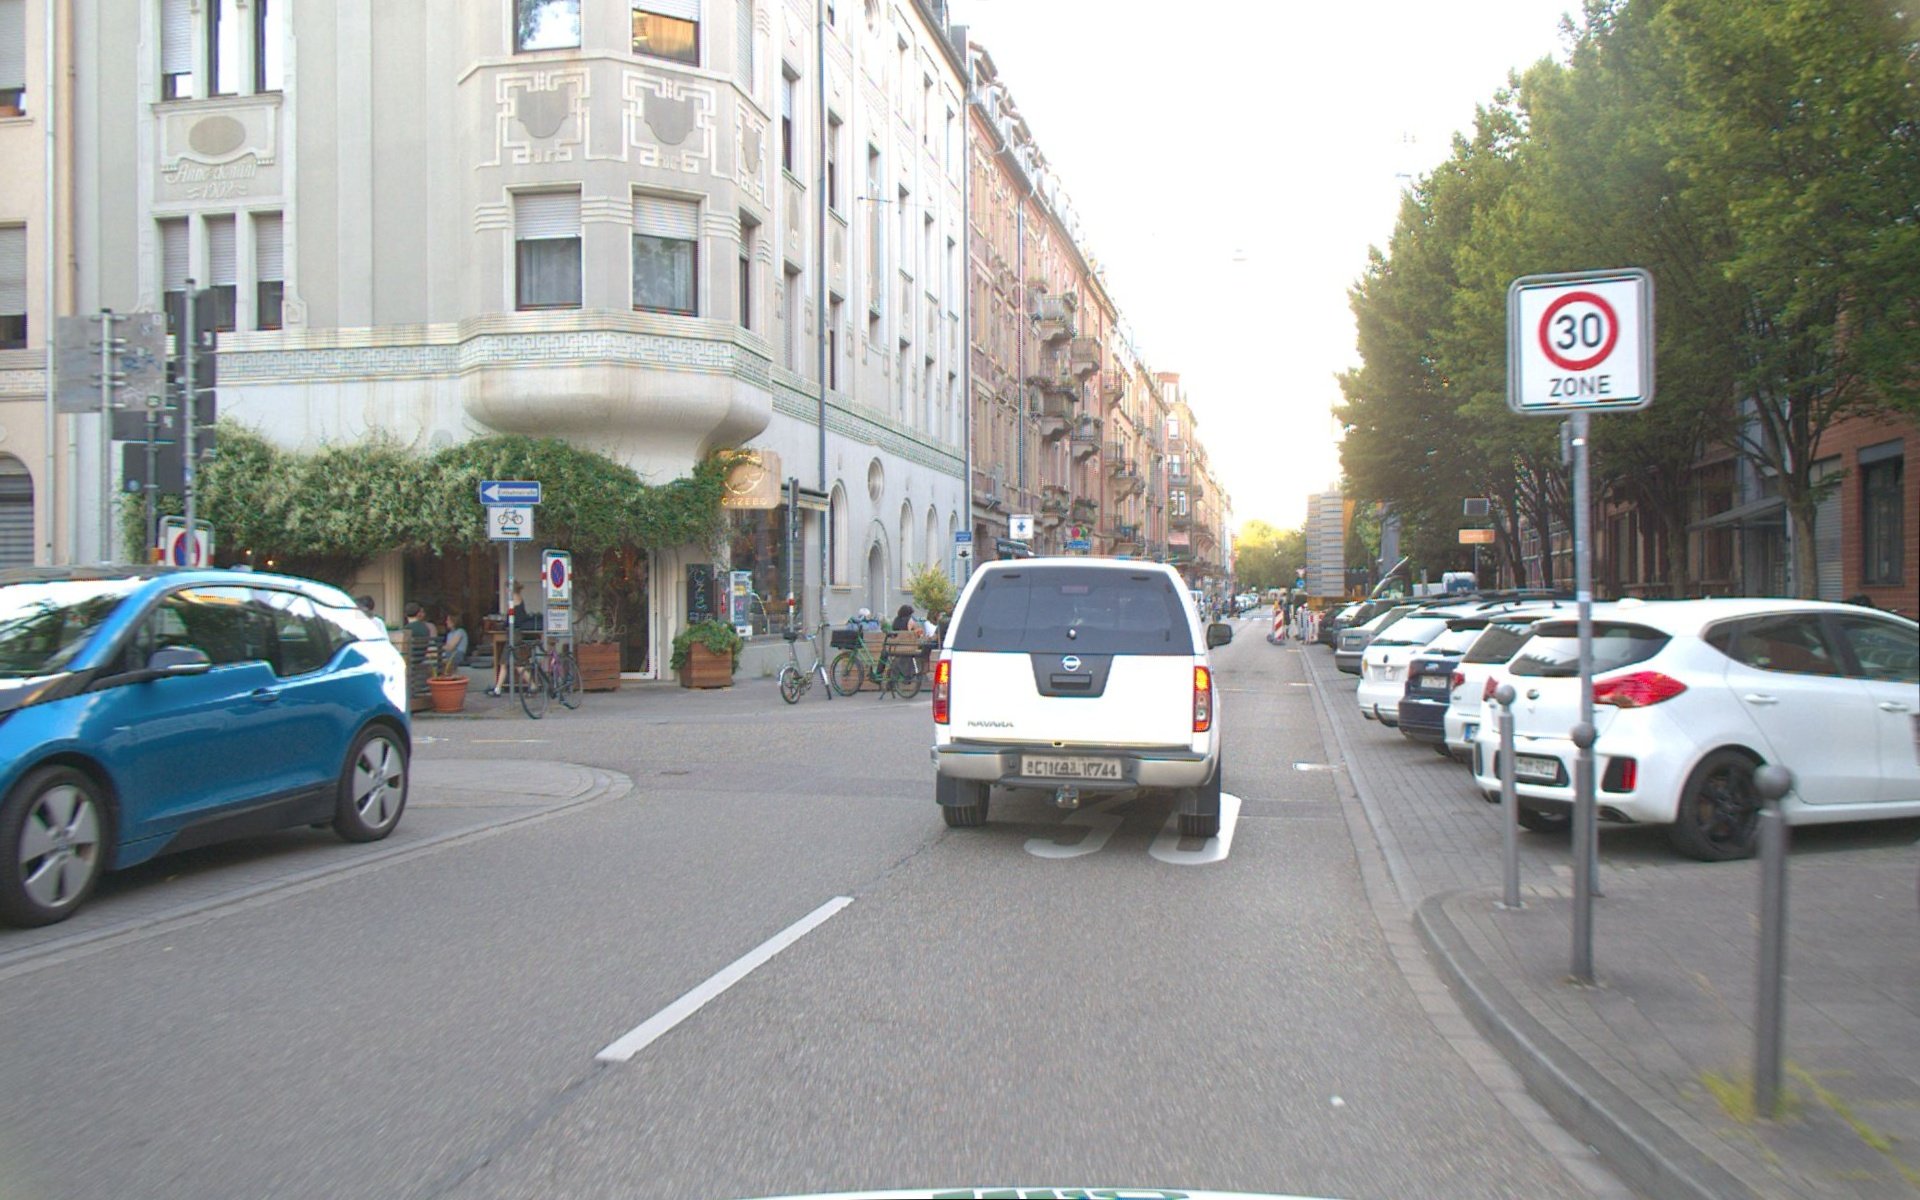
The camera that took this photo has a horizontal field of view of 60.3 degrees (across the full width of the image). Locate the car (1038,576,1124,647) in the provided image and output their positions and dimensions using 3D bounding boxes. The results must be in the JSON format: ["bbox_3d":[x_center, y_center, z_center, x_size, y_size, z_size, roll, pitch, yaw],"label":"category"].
[{"bbox_3d":[3.600,0.301,48.412,1.864,1.959,4.951,0,0,11],"label":"car"}]

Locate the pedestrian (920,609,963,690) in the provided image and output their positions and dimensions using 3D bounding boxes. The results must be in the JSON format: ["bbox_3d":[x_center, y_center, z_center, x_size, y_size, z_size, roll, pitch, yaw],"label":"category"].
[{"bbox_3d":[-0.310,0.829,27.928,0.596,1.348,0.771,0,0,10],"label":"pedestrian"}]

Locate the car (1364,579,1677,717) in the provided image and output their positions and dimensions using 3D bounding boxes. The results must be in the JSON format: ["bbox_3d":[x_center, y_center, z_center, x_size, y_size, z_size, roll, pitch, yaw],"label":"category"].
[{"bbox_3d":[7.127,0.559,21.062,3.544,1.608,1.705,-1,0,-22],"label":"car"}]

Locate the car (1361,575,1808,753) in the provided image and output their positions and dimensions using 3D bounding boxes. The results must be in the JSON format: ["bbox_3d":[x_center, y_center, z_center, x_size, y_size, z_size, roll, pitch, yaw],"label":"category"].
[{"bbox_3d":[6.101,0.582,16.214,3.928,1.549,1.700,-1,-1,-20],"label":"car"}]

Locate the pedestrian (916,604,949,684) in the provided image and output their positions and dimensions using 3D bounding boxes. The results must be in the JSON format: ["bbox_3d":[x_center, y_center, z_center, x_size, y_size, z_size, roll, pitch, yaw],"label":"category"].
[{"bbox_3d":[-0.482,0.767,28.990,0.458,1.373,0.611,0,0,10],"label":"pedestrian"}]

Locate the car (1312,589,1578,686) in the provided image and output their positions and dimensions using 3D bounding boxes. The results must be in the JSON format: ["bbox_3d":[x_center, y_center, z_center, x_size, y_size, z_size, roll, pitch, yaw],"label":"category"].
[{"bbox_3d":[8.489,0.617,28.943,4.312,1.561,1.795,-1,0,-22],"label":"car"}]

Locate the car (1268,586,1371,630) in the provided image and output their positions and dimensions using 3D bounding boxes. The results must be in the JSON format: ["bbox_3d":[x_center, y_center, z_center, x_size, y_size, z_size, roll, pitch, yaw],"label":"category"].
[{"bbox_3d":[15.215,0.336,69.974,4.107,1.811,1.821,0,0,17],"label":"car"}]

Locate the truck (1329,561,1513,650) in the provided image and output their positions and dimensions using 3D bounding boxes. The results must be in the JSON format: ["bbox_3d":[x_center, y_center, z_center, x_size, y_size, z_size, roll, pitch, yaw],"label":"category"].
[{"bbox_3d":[16.352,0.203,59.034,6.185,3.029,2.266,0,-3,13],"label":"truck"}]

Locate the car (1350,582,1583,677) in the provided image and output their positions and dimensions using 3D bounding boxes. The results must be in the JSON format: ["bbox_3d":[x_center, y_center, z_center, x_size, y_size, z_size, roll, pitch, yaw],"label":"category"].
[{"bbox_3d":[9.741,0.548,31.941,3.913,1.665,1.755,-2,0,-9],"label":"car"}]

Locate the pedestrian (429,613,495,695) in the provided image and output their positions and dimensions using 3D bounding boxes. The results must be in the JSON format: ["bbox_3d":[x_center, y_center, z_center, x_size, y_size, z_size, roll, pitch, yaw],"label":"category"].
[{"bbox_3d":[-7.643,0.821,25.393,0.676,1.235,0.779,-1,0,12],"label":"pedestrian"}]

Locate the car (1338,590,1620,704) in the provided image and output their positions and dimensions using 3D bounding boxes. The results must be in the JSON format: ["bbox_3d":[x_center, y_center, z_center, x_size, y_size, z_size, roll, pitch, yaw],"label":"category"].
[{"bbox_3d":[7.447,0.639,23.810,3.536,1.508,1.715,-1,0,-17],"label":"car"}]

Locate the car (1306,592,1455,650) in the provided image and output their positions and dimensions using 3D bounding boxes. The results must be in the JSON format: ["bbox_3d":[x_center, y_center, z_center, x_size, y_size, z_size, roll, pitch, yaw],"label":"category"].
[{"bbox_3d":[11.773,0.555,46.328,3.774,1.462,1.750,-2,1,-24],"label":"car"}]

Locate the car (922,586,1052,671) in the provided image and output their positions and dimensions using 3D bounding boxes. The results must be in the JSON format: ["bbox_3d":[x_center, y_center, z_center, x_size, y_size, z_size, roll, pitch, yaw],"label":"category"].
[{"bbox_3d":[0.624,0.544,33.799,1.951,1.619,4.318,-1,0,10],"label":"car"}]

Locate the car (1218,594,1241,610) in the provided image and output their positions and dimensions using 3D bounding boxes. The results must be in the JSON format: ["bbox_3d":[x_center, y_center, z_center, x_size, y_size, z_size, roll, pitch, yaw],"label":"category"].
[{"bbox_3d":[26.622,0.169,163.309,1.807,1.579,4.359,0,0,14],"label":"car"}]

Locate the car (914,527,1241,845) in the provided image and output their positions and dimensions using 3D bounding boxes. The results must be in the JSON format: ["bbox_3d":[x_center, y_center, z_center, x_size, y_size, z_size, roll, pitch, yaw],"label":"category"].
[{"bbox_3d":[0.974,0.516,12.001,1.892,1.826,4.625,1,-1,7],"label":"car"}]

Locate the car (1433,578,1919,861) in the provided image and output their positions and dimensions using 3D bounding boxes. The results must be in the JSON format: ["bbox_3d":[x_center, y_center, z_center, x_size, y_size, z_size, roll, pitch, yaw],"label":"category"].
[{"bbox_3d":[5.201,0.642,10.520,3.925,1.533,1.761,-1,0,-18],"label":"car"}]

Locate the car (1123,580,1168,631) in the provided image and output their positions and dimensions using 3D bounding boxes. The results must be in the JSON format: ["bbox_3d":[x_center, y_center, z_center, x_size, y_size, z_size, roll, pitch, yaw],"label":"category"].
[{"bbox_3d":[7.586,0.203,67.500,1.526,1.954,3.859,2,0,10],"label":"car"}]

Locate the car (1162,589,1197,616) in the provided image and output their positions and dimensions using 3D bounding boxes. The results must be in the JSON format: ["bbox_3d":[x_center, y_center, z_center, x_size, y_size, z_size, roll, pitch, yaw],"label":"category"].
[{"bbox_3d":[12.759,0.132,96.001,1.753,1.557,4.003,0,0,11],"label":"car"}]

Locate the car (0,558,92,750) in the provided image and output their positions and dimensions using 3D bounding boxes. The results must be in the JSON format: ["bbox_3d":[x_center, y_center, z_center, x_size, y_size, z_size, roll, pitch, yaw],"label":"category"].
[{"bbox_3d":[-11.206,0.546,16.857,3.902,1.876,1.892,-1,0,15],"label":"car"}]

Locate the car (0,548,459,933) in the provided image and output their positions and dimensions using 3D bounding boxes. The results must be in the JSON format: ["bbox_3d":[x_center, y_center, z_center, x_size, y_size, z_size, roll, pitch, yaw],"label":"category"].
[{"bbox_3d":[-4.364,0.568,8.566,1.605,1.583,4.007,0,0,13],"label":"car"}]

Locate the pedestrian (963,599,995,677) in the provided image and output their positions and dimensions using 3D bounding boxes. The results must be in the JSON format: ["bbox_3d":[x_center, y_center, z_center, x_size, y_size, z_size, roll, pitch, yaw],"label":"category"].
[{"bbox_3d":[0.340,0.663,29.283,0.473,1.373,0.669,0,0,10],"label":"pedestrian"}]

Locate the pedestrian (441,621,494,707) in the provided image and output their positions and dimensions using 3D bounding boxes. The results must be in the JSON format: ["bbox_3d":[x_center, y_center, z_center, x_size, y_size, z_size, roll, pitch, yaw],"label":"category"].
[{"bbox_3d":[-7.229,0.932,24.281,0.519,1.235,0.607,-1,0,11],"label":"pedestrian"}]

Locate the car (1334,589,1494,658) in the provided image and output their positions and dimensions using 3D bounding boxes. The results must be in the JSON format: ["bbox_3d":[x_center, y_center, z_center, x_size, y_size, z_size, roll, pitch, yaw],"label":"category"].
[{"bbox_3d":[11.017,0.535,40.182,3.346,1.500,1.764,-2,1,-20],"label":"car"}]

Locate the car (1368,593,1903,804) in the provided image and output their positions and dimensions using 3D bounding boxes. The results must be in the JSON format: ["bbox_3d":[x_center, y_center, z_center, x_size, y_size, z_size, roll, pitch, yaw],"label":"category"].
[{"bbox_3d":[5.585,0.742,13.728,3.931,1.499,1.863,-1,-1,-22],"label":"car"}]

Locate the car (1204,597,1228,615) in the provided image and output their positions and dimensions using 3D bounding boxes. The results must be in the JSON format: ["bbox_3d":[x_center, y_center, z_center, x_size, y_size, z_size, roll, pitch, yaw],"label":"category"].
[{"bbox_3d":[22.891,0.508,147.839,1.807,1.579,4.359,0,0,13],"label":"car"}]

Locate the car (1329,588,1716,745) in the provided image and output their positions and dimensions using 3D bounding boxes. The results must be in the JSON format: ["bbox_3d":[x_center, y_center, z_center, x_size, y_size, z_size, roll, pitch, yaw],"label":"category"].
[{"bbox_3d":[6.224,0.673,18.334,3.928,1.564,1.626,-1,0,-20],"label":"car"}]

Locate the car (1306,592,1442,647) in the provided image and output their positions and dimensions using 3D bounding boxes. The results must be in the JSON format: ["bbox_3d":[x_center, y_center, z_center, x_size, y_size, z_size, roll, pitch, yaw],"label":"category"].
[{"bbox_3d":[12.186,0.559,48.628,3.837,1.557,1.622,0,0,-29],"label":"car"}]

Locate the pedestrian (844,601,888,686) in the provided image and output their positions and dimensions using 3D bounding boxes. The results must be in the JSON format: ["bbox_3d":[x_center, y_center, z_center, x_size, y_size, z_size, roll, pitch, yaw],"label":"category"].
[{"bbox_3d":[-1.508,0.685,26.587,0.525,1.348,0.705,0,0,12],"label":"pedestrian"}]

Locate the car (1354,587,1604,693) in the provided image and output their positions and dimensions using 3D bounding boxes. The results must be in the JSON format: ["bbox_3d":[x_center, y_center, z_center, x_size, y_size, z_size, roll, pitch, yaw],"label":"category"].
[{"bbox_3d":[8.204,0.603,26.208,3.537,1.561,1.555,-1,0,-17],"label":"car"}]

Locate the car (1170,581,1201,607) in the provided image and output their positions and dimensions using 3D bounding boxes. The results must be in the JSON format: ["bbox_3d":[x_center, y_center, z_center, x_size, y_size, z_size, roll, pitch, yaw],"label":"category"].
[{"bbox_3d":[13.914,-0.377,101.758,1.673,1.557,4.004,0,0,11],"label":"car"}]

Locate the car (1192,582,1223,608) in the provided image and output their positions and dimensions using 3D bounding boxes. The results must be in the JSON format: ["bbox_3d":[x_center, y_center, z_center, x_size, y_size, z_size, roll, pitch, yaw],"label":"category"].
[{"bbox_3d":[17.871,-0.349,119.514,1.951,1.816,4.223,0,0,12],"label":"car"}]

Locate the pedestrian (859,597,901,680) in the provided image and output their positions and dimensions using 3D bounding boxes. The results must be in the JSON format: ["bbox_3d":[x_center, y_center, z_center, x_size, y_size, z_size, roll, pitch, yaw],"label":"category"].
[{"bbox_3d":[-1.323,0.631,27.339,0.525,1.348,0.705,0,0,12],"label":"pedestrian"}]

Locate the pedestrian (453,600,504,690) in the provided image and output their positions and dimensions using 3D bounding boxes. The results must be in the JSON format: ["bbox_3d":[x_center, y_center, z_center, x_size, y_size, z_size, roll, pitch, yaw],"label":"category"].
[{"bbox_3d":[-7.993,0.748,27.478,0.559,1.468,0.645,-1,0,12],"label":"pedestrian"}]
